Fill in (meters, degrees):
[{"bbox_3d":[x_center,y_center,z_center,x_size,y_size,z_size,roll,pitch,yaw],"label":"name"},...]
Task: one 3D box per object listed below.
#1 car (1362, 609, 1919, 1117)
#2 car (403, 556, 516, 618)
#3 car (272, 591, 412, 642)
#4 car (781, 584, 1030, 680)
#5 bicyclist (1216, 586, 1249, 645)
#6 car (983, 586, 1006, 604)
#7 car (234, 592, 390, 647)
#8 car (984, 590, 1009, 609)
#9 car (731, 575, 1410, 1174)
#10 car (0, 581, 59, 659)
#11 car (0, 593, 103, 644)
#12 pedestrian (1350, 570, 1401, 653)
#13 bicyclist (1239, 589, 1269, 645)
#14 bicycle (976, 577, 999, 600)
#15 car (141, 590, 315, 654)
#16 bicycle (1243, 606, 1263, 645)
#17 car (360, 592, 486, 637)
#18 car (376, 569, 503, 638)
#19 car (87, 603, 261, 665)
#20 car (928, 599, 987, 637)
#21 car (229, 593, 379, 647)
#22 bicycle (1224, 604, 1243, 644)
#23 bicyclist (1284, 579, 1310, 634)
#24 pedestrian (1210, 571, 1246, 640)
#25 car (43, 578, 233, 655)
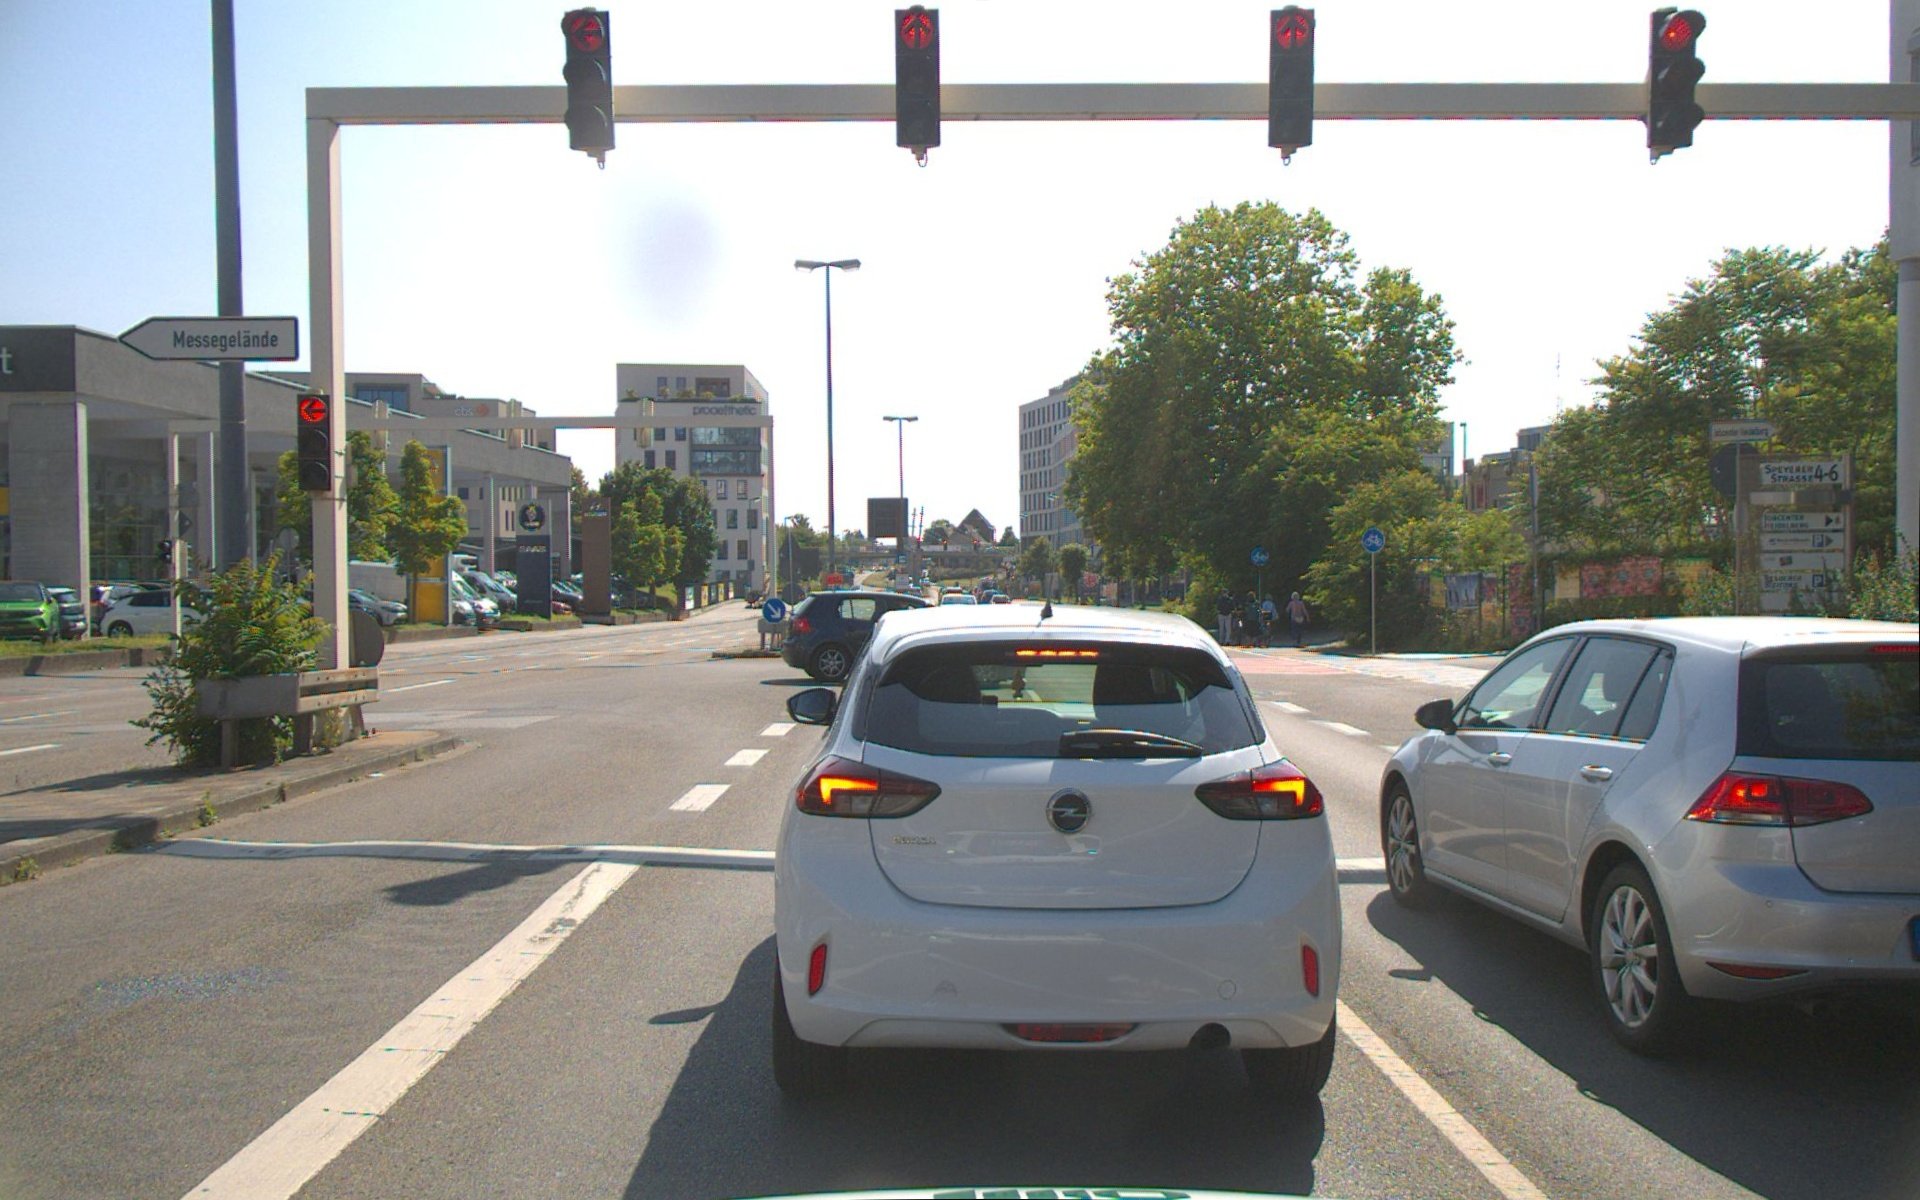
[{"bbox_3d":[3.122,0.775,6.856,1.771,1.454,3.998,-1,0,-3],"label":"car"},{"bbox_3d":[-21.980,-0.580,72.702,4.265,2.646,2.001,-1,0,4],"label":"car"},{"bbox_3d":[-22.057,0.584,59.165,4.270,1.726,1.999,-1,0,-4],"label":"car"},{"bbox_3d":[-0.959,0.502,27.484,3.913,1.467,1.996,-1,0,-9],"label":"car"},{"bbox_3d":[8.510,0.479,51.733,0.861,1.803,0.863,0,0,-1],"label":"bicyclist"},{"bbox_3d":[2.964,-0.433,141.923,1.769,1.410,3.999,1,-1,-1],"label":"car"},{"bbox_3d":[-21.013,0.616,53.758,4.270,1.726,1.999,0,0,-3],"label":"car"},{"bbox_3d":[2.784,-0.037,128.367,1.769,1.410,3.999,1,-1,-1],"label":"car"},{"bbox_3d":[0.254,0.696,6.266,1.743,1.520,3.999,-1,0,-1],"label":"car"},{"bbox_3d":[-22.556,0.493,38.939,1.887,1.764,3.250,-1,-1,-37],"label":"car"},{"bbox_3d":[-26.260,0.535,45.518,4.276,1.290,1.996,-2,-1,-9],"label":"car"},{"bbox_3d":[10.473,0.279,41.719,1.006,2.049,1.038,0,0,-1],"label":"pedestrian"},{"bbox_3d":[8.870,0.506,49.945,0.675,1.672,0.775,0,0,-9],"label":"bicyclist"},{"bbox_3d":[2.576,-1.077,155.592,1.953,2.195,3.999,-1,0,-1],"label":"bicycle"},{"bbox_3d":[-21.446,0.616,48.611,4.211,1.796,1.999,-1,0,-4],"label":"car"},{"bbox_3d":[8.838,0.768,49.887,0.366,1.167,1.034,1,-1,-3],"label":"bicycle"},{"bbox_3d":[-21.063,0.558,64.954,4.265,1.726,2.001,-1,0,4],"label":"car"},{"bbox_3d":[-21.178,0.142,67.408,4.401,2.731,2.130,0,0,8],"label":"car"},{"bbox_3d":[-21.755,0.932,45.901,3.912,1.627,1.997,-1,0,-8],"label":"car"},{"bbox_3d":[-0.129,0.664,62.070,1.954,1.355,3.997,1,-1,-4],"label":"car"},{"bbox_3d":[-22.142,0.667,55.965,4.270,1.726,1.999,-1,0,-4],"label":"car"},{"bbox_3d":[8.549,0.752,51.732,0.365,1.238,1.153,1,0,-1],"label":"bicycle"},{"bbox_3d":[10.352,0.214,50.869,0.639,1.666,0.659,1,-1,-1],"label":"bicyclist"},{"bbox_3d":[8.964,0.167,55.437,1.006,2.278,1.038,0,0,-1],"label":"pedestrian"},{"bbox_3d":[-20.726,0.402,41.833,3.793,1.870,1.999,-1,0,-4],"label":"car"}]
